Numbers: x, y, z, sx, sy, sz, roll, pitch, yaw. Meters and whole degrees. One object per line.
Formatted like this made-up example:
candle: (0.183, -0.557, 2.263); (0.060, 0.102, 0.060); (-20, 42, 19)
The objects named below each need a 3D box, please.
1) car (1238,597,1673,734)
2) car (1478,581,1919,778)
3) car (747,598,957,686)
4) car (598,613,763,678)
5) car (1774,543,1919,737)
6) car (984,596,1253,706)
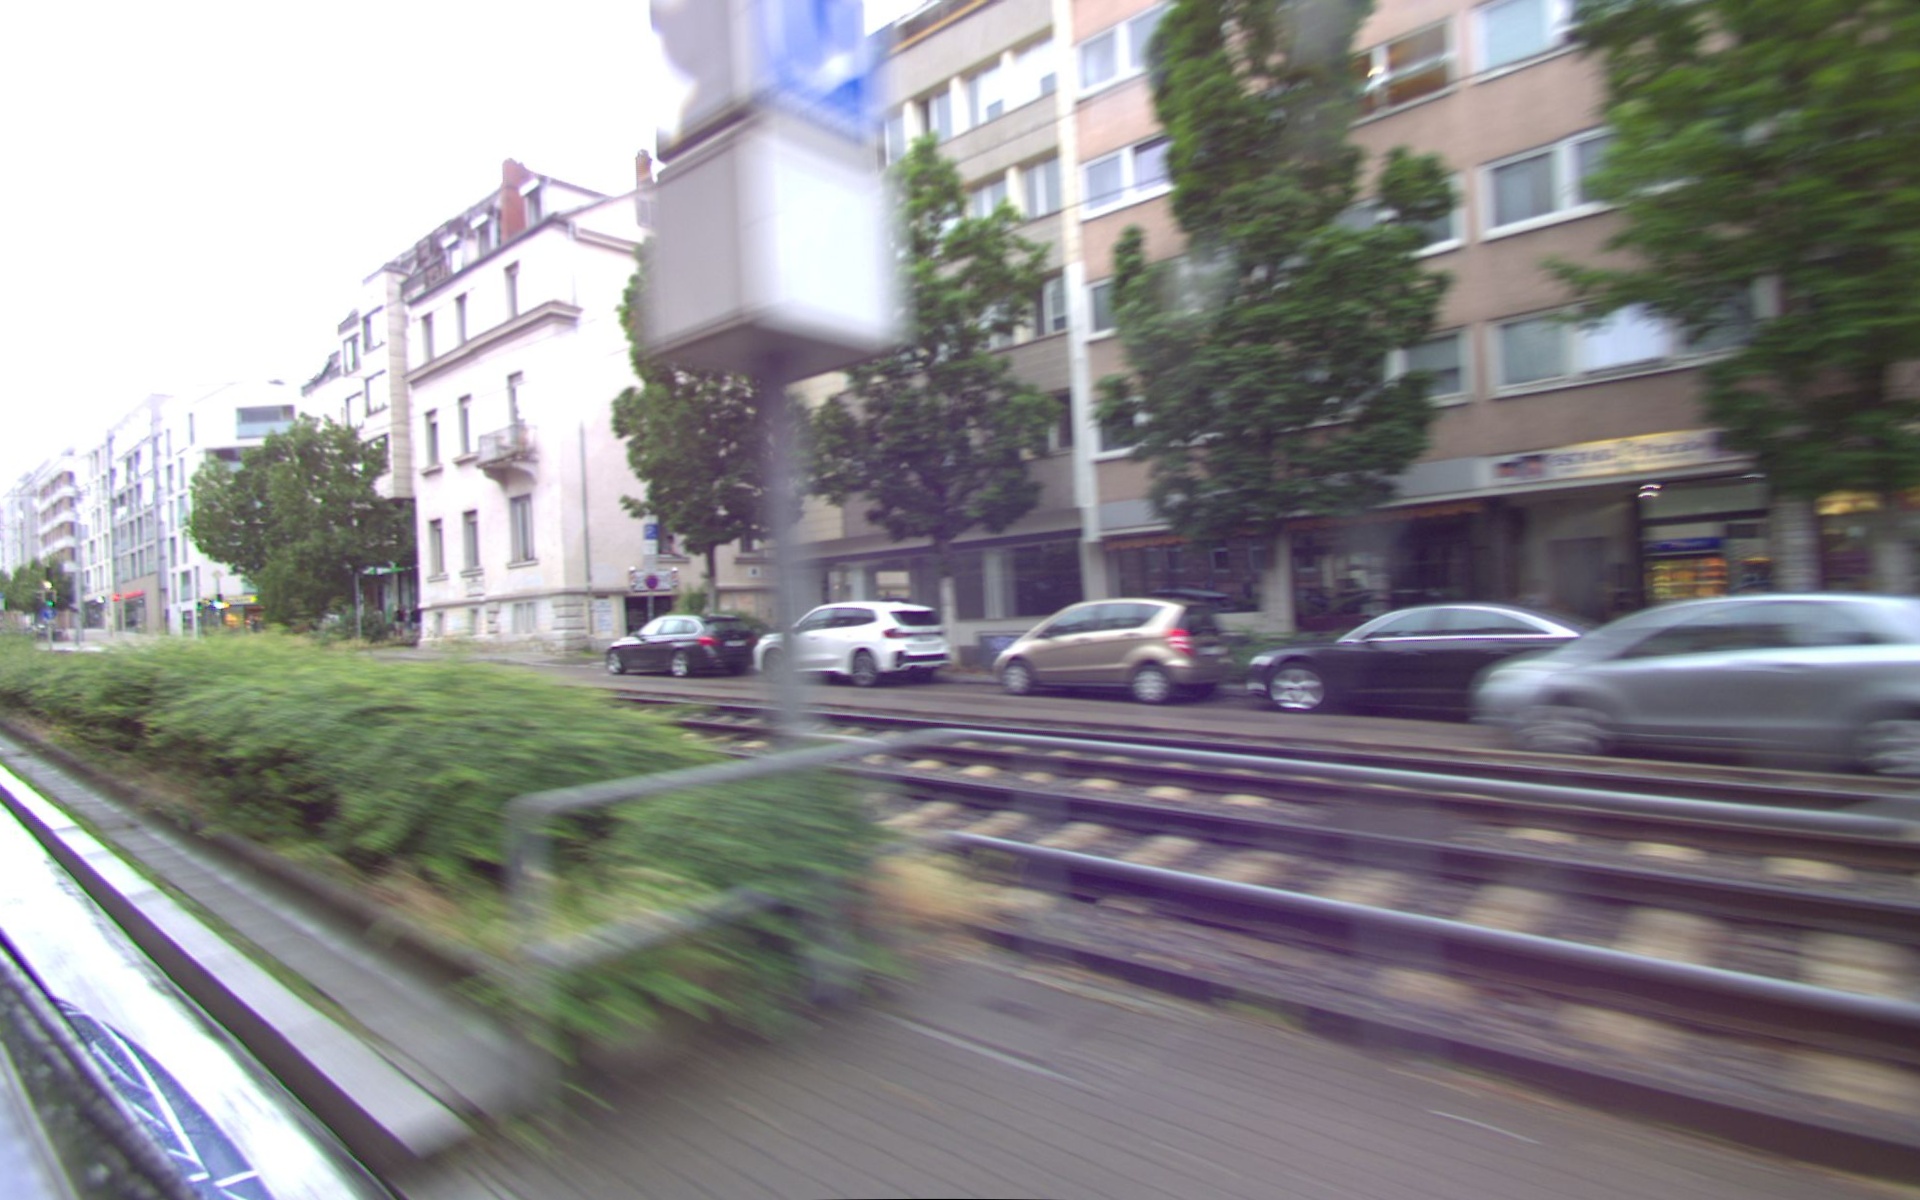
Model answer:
car: (6.111, 0.726, 12.867); (4.725, 1.451, 1.622); (-1, 0, 40)
car: (6.914, 0.605, 8.867); (3.962, 1.473, 1.621); (-1, 0, 41)
car: (-2.245, 0.787, 20.374); (4.334, 1.596, 1.641); (-1, 0, 39)
car: (-6.768, 1.023, 24.211); (4.456, 1.386, 1.696); (-1, 0, 42)
car: (10.477, 0.359, 9.470); (4.428, 1.831, 1.657); (-1, 0, 40)
car: (2.445, 0.746, 16.213); (4.020, 1.549, 1.621); (-1, 0, 41)
